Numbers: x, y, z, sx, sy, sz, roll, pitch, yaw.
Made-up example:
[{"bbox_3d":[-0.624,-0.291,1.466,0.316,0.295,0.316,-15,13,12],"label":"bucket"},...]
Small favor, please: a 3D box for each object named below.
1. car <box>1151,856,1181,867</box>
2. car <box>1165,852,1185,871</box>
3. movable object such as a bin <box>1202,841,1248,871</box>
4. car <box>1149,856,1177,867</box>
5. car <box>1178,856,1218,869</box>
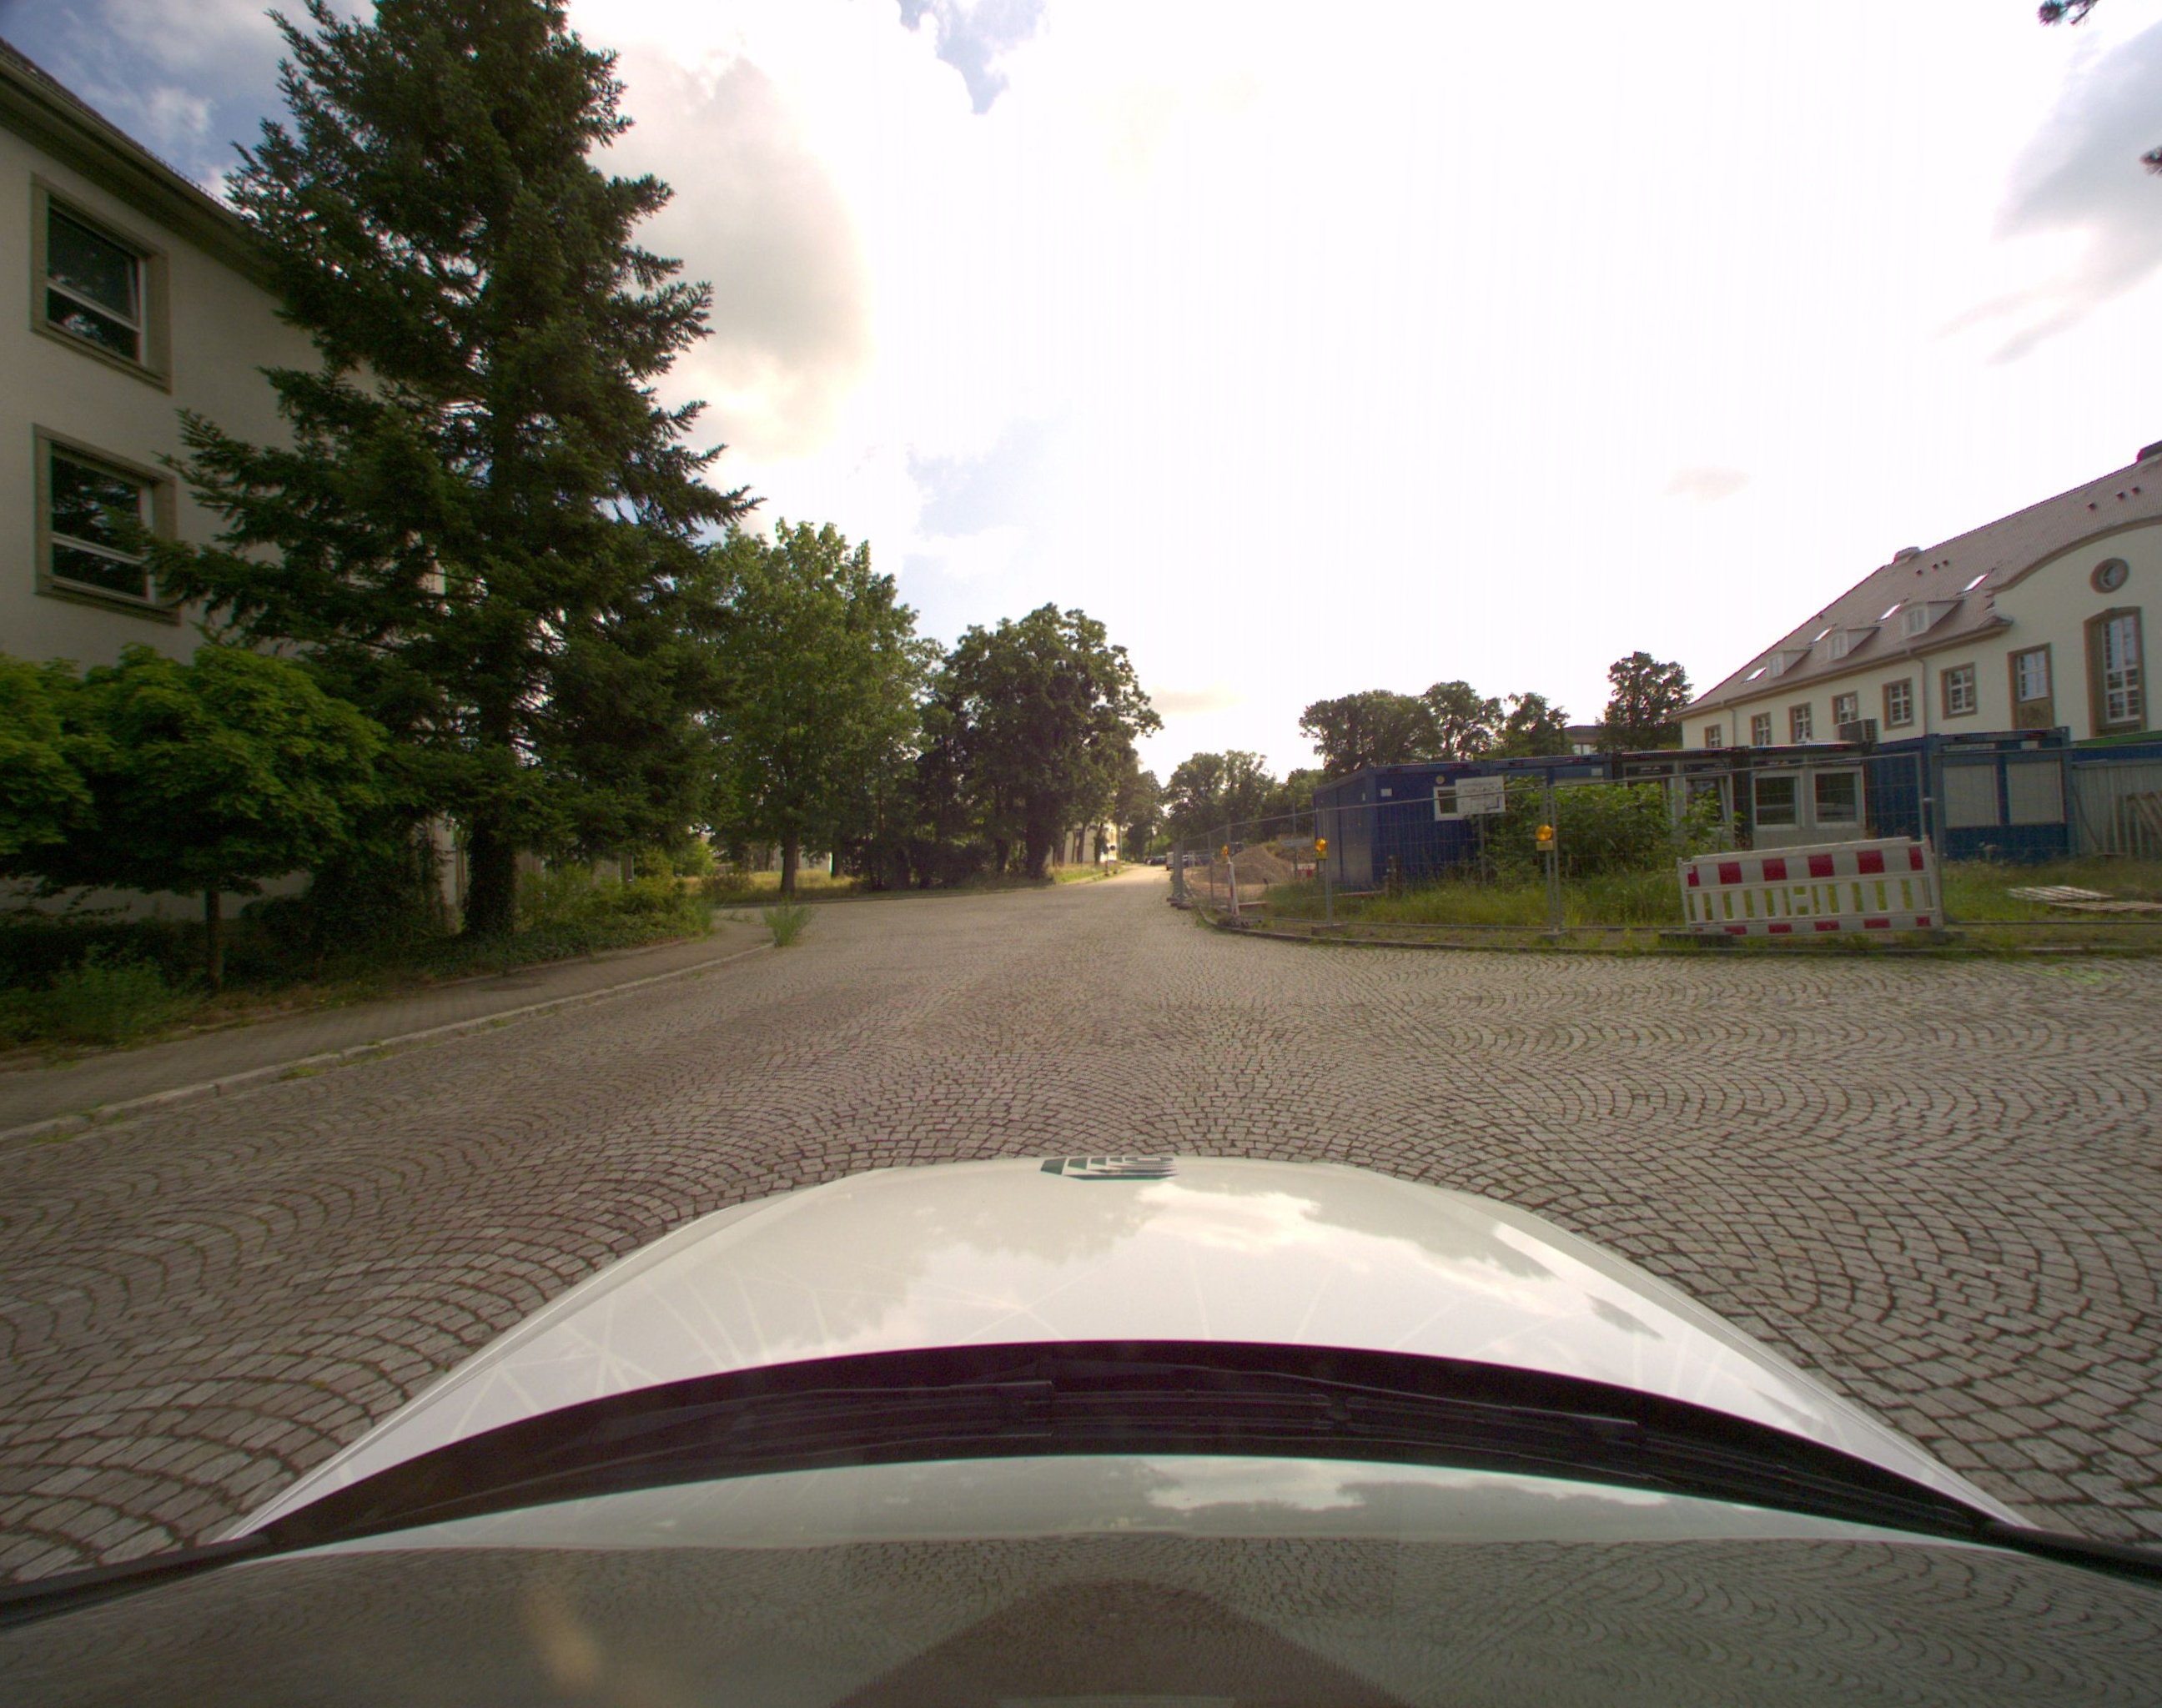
[{"bbox_3d":[14.459,1.247,138.464,4.764,1.641,2.000,-2,-1,0],"label":"car"},{"bbox_3d":[10.393,0.823,90.374,1.984,2.014,4.096,-2,-1,4],"label":"car"},{"bbox_3d":[12.934,0.139,72.764,2.108,2.593,4.822,-3,-1,35],"label":"movable object such as a bin"},{"bbox_3d":[14.215,1.279,141.595,4.764,1.641,2.000,-2,-1,0],"label":"car"},{"bbox_3d":[13.748,1.011,95.685,4.371,1.510,2.007,-1,-1,13],"label":"car"}]
